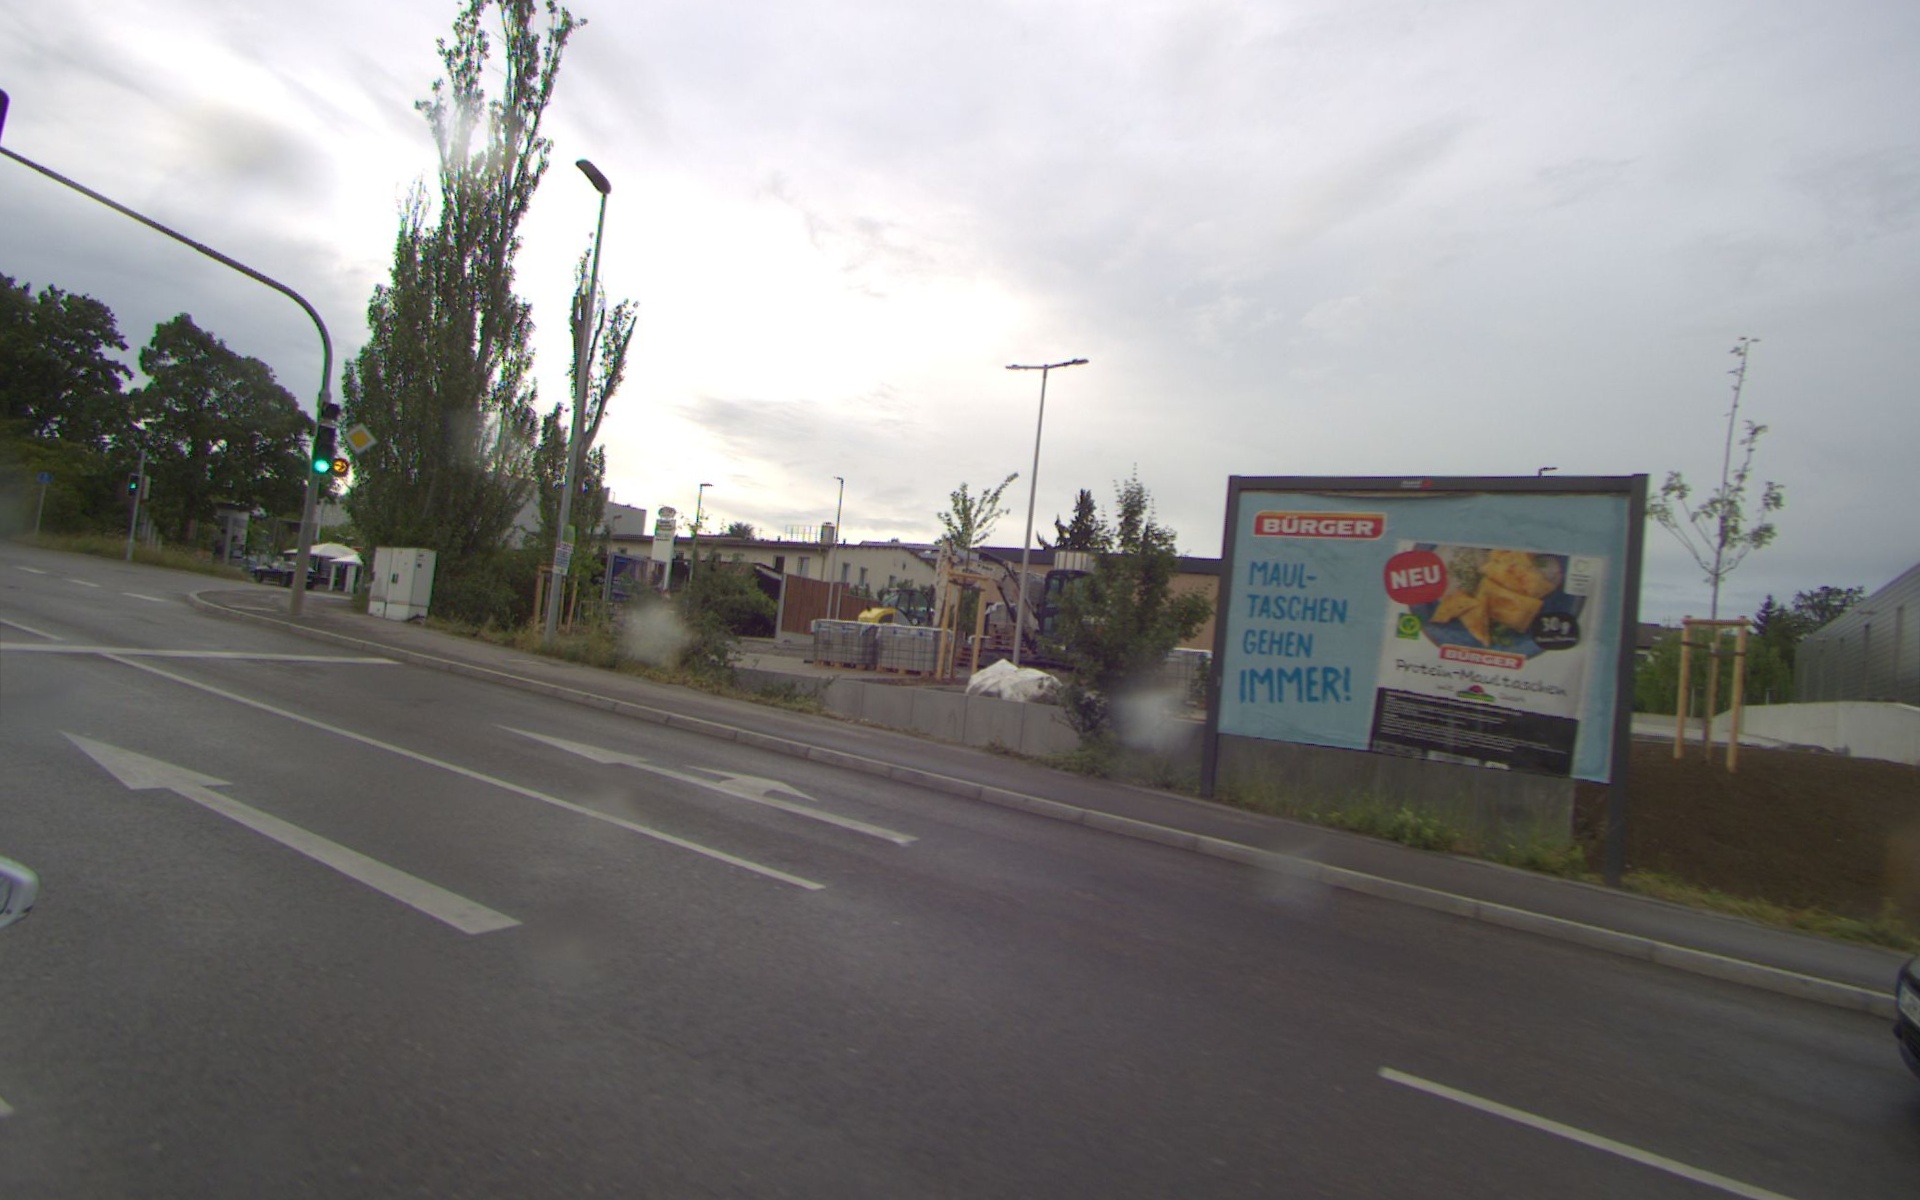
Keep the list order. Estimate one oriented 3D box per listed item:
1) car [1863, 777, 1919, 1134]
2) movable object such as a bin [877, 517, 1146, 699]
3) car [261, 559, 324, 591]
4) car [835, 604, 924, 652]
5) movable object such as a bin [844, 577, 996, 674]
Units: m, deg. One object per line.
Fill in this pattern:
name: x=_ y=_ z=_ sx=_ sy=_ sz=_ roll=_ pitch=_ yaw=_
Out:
car: x=6.072 y=1.675 z=3.087 sx=4.564 sy=1.485 sz=1.750 roll=5 pitch=-4 yaw=31
movable object such as a bin: x=1.185 y=0.179 z=23.156 sx=5.326 sy=3.312 sz=2.311 roll=8 pitch=-2 yaw=24
car: x=-44.894 y=-1.694 z=67.618 sx=4.073 sy=1.602 sz=1.783 roll=5 pitch=-5 yaw=31
car: x=-4.066 y=1.477 z=51.637 sx=2.074 sy=1.820 sz=4.317 roll=7 pitch=-3 yaw=36
movable object such as a bin: x=-1.368 y=0.946 z=35.763 sx=4.943 sy=2.647 sz=1.881 roll=11 pitch=-3 yaw=-37
